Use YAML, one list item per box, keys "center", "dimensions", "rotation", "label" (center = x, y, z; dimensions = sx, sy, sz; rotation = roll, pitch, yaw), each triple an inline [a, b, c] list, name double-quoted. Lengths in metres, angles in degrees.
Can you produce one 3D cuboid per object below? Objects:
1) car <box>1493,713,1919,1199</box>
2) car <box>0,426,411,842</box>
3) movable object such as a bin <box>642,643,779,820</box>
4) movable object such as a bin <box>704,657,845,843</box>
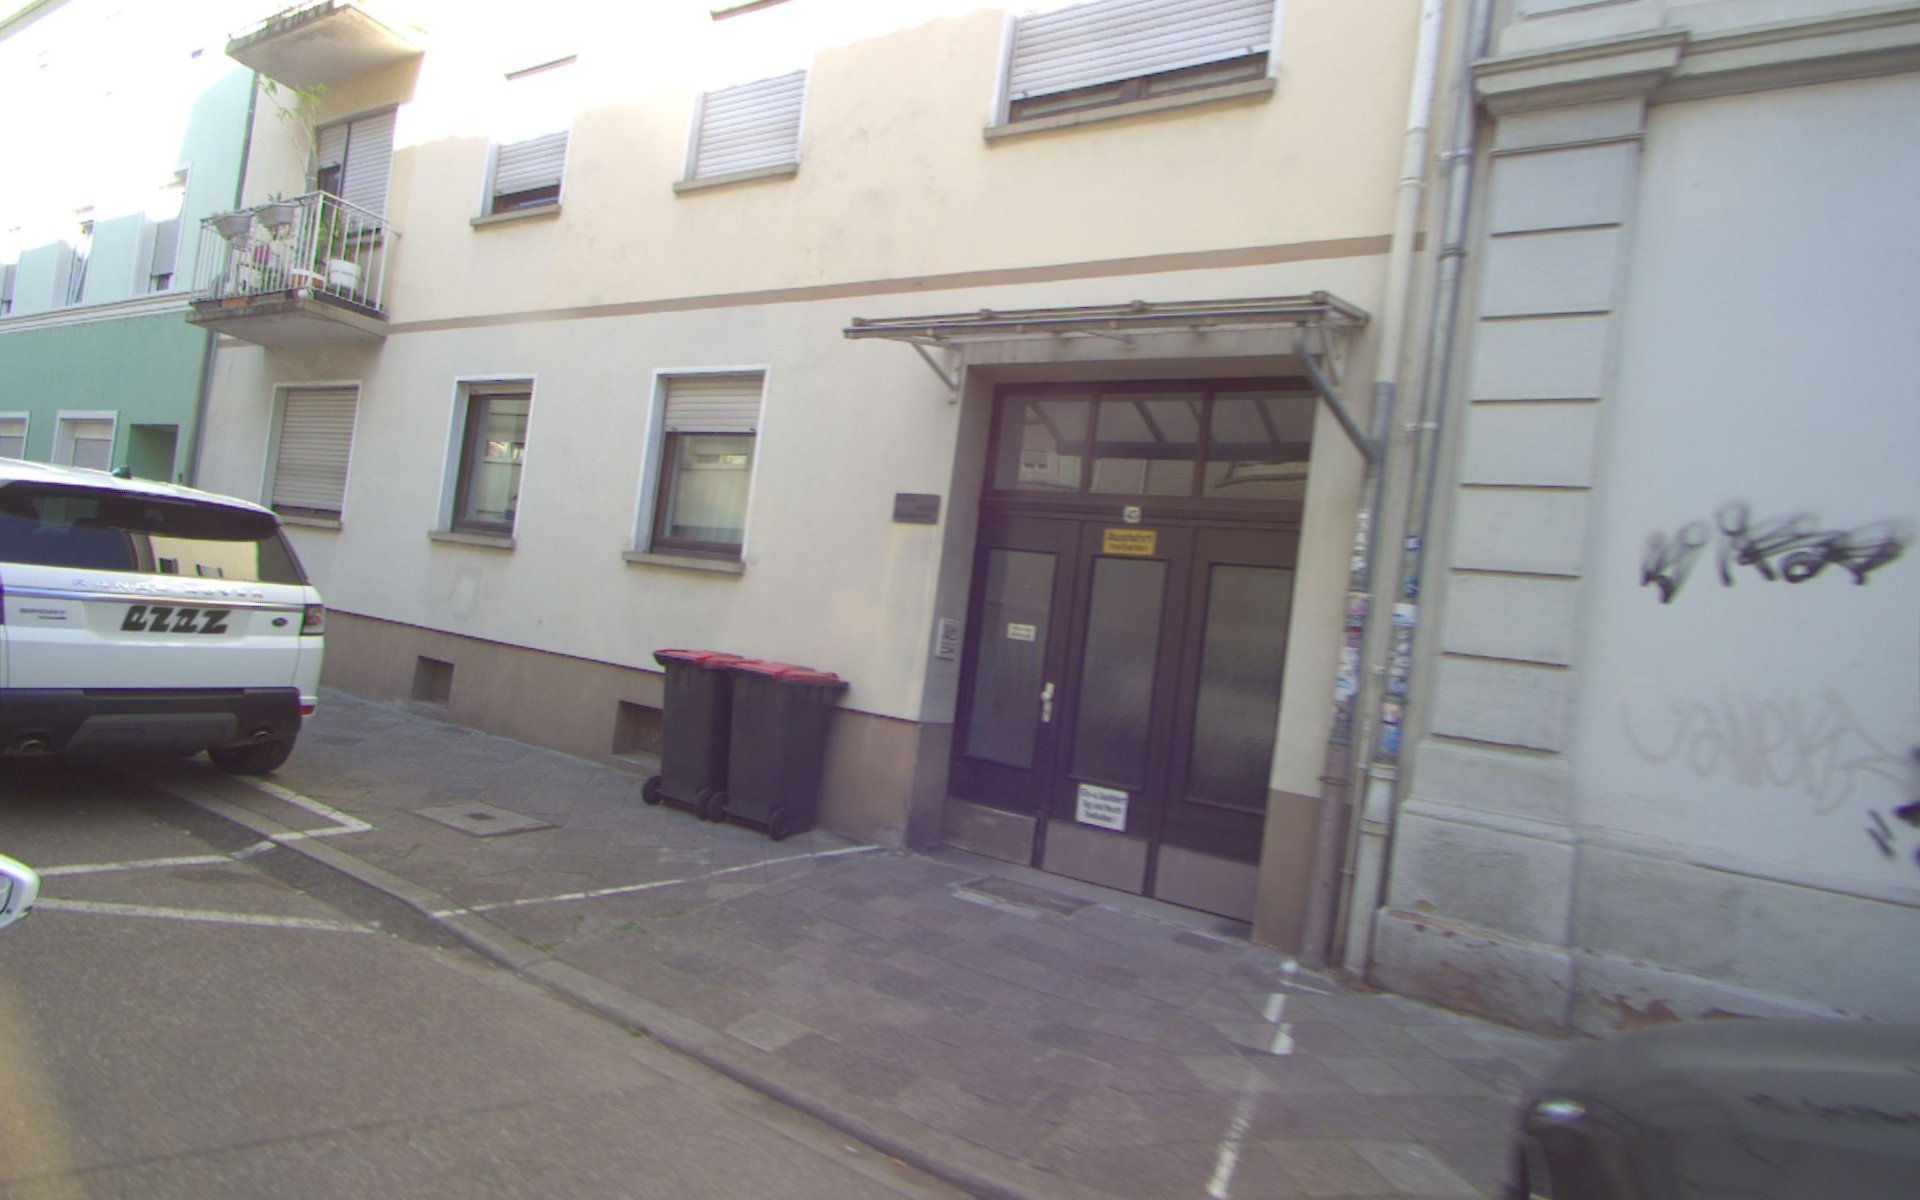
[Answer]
- center: [2.710, 1.179, 1.025]
  dimensions: [3.805, 1.464, 1.752]
  rotation: [7, -3, 31]
  label: "car"
- center: [-5.866, -0.013, 6.247]
  dimensions: [4.856, 1.804, 2.009]
  rotation: [7, -2, 31]
  label: "car"
- center: [-1.690, 0.875, 6.838]
  dimensions: [0.544, 1.084, 0.577]
  rotation: [6, 0, 34]
  label: "movable object such as a bin"
- center: [-1.202, 0.951, 6.544]
  dimensions: [0.544, 1.084, 0.577]
  rotation: [6, 0, 34]
  label: "movable object such as a bin"
